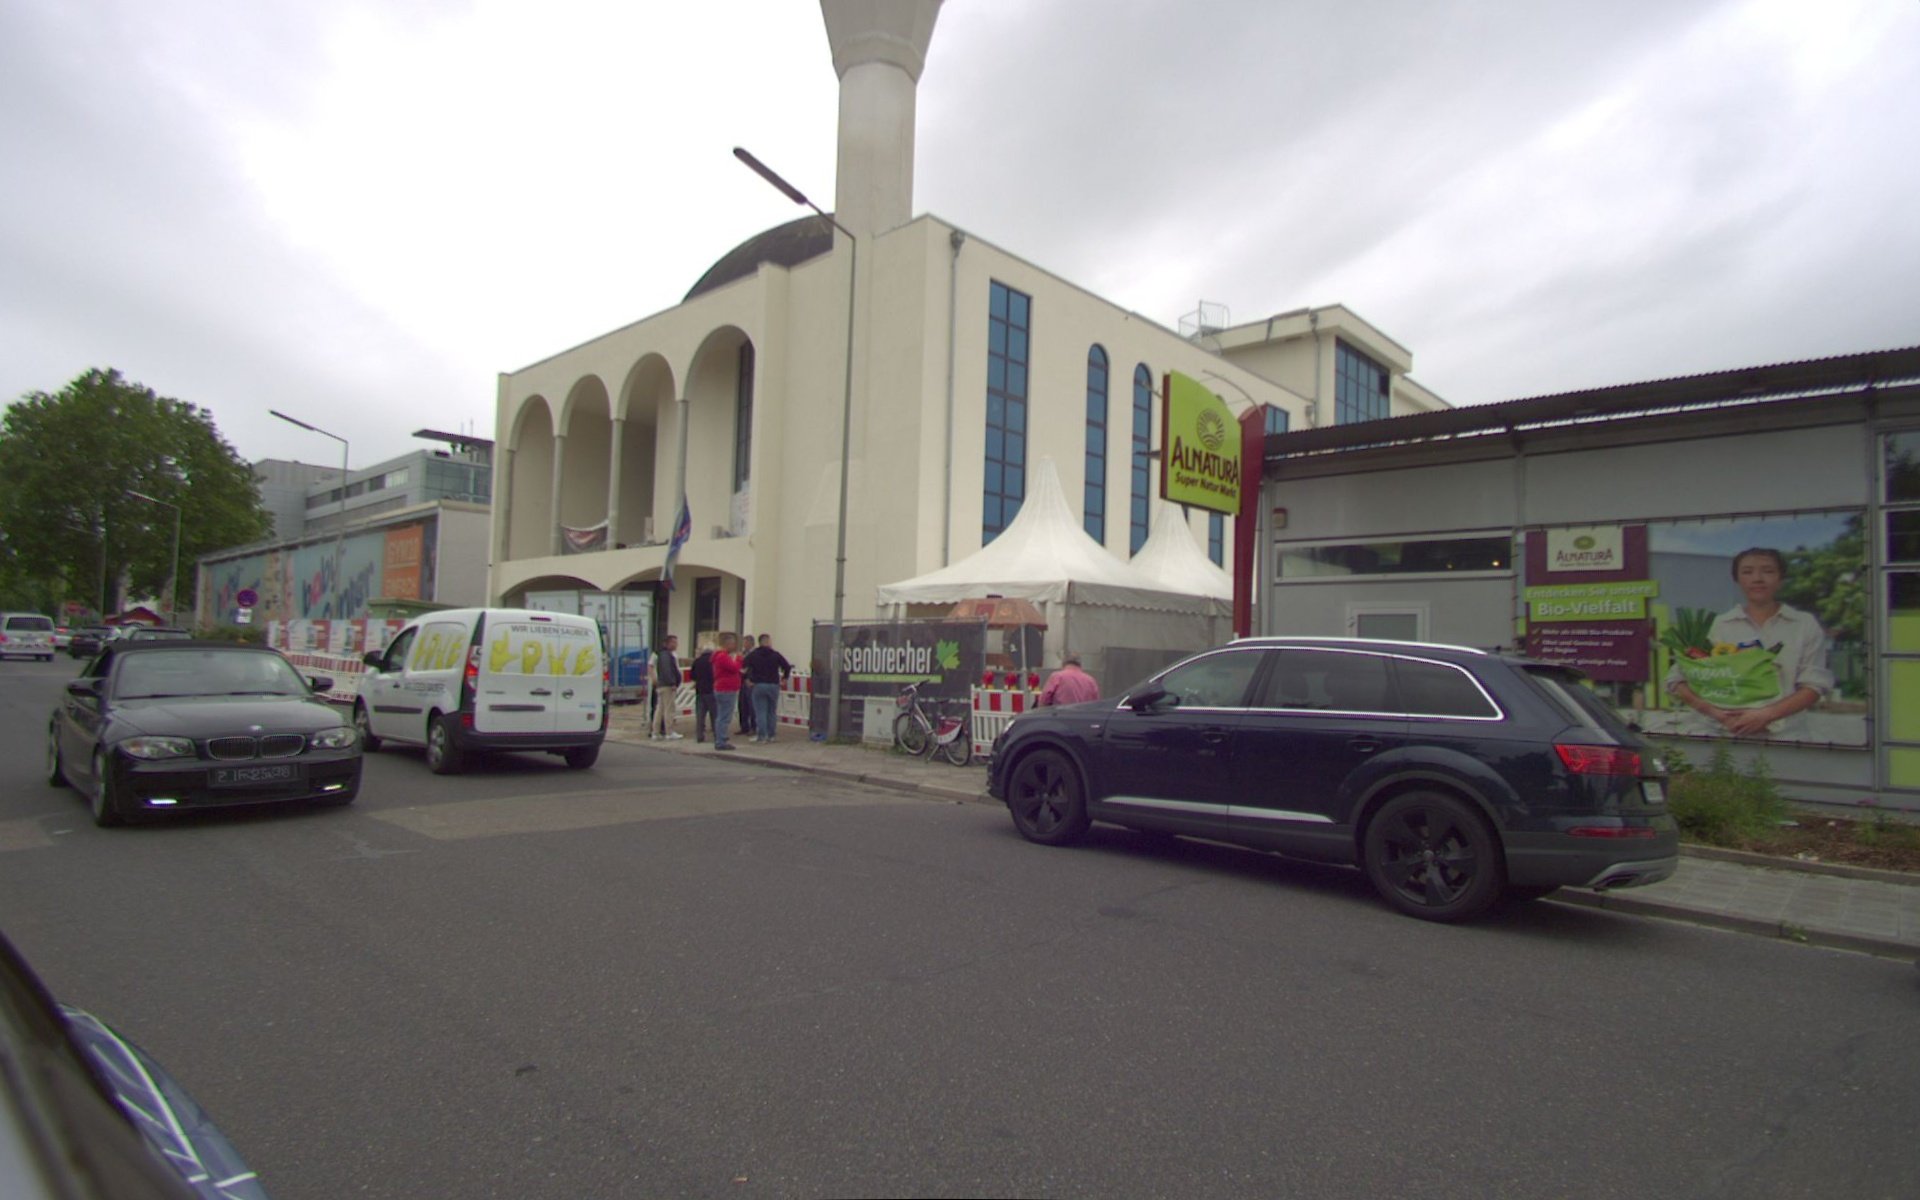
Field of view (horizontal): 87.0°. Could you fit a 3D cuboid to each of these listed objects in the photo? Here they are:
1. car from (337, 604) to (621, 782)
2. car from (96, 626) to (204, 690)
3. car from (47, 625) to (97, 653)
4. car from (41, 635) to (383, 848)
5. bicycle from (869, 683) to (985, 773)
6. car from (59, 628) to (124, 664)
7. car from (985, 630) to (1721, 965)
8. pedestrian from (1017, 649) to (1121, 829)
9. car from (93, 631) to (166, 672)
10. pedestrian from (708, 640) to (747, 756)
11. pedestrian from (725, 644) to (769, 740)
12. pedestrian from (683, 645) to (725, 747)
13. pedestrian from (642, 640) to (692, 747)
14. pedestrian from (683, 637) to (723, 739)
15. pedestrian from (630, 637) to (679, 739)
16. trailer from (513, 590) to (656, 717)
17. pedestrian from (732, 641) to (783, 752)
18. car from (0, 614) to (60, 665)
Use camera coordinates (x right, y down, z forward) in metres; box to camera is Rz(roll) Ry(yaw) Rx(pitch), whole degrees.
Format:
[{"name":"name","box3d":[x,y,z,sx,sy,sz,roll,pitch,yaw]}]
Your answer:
[{"name":"car","box3d":[-5.891,1.026,12.171,4.136,1.774,1.670,-2,-5,44]},{"name":"car","box3d":[-22.378,1.583,27.911,3.947,1.584,1.710,-2,-6,44]},{"name":"car","box3d":[-55.958,2.451,63.754,4.151,1.586,1.903,-2,-8,44]},{"name":"car","box3d":[-6.715,1.034,8.906,4.139,1.369,1.726,-1,-2,44]},{"name":"bicycle","box3d":[-0.497,1.772,14.335,0.537,1.086,1.904,4,-3,-40]},{"name":"car","box3d":[-42.753,2.261,49.788,4.151,1.586,1.903,-2,-8,44]},{"name":"car","box3d":[2.586,1.164,7.533,4.730,1.704,1.844,-2,-8,44]},{"name":"pedestrian","box3d":[1.050,1.327,9.794,0.664,1.634,0.655,7,-7,-21]},{"name":"car","box3d":[-36.847,2.264,44.852,4.151,1.586,1.903,-2,-8,44]},{"name":"pedestrian","box3d":[-3.569,1.486,15.491,0.505,1.706,0.534,-1,-3,-18]},{"name":"pedestrian","box3d":[-3.687,1.574,17.519,0.532,1.624,0.491,3,-2,-41]},{"name":"pedestrian","box3d":[-4.209,1.573,16.659,0.562,1.624,0.491,2,-4,-8]},{"name":"pedestrian","box3d":[-4.976,1.575,17.196,0.680,1.763,0.491,2,-4,-8]},{"name":"pedestrian","box3d":[-4.545,1.548,17.917,0.521,1.763,0.491,2,-4,-2]},{"name":"pedestrian","box3d":[-5.402,1.547,17.922,0.680,1.763,0.491,2,-4,-8]},{"name":"trailer","box3d":[-8.482,1.209,22.790,1.777,2.627,3.194,5,-5,-43]},{"name":"pedestrian","box3d":[-3.277,1.545,16.431,0.686,1.731,0.688,-2,-3,-3]},{"name":"car","box3d":[-40.434,1.672,43.666,4.957,2.029,1.905,-1,-4,44]}]
